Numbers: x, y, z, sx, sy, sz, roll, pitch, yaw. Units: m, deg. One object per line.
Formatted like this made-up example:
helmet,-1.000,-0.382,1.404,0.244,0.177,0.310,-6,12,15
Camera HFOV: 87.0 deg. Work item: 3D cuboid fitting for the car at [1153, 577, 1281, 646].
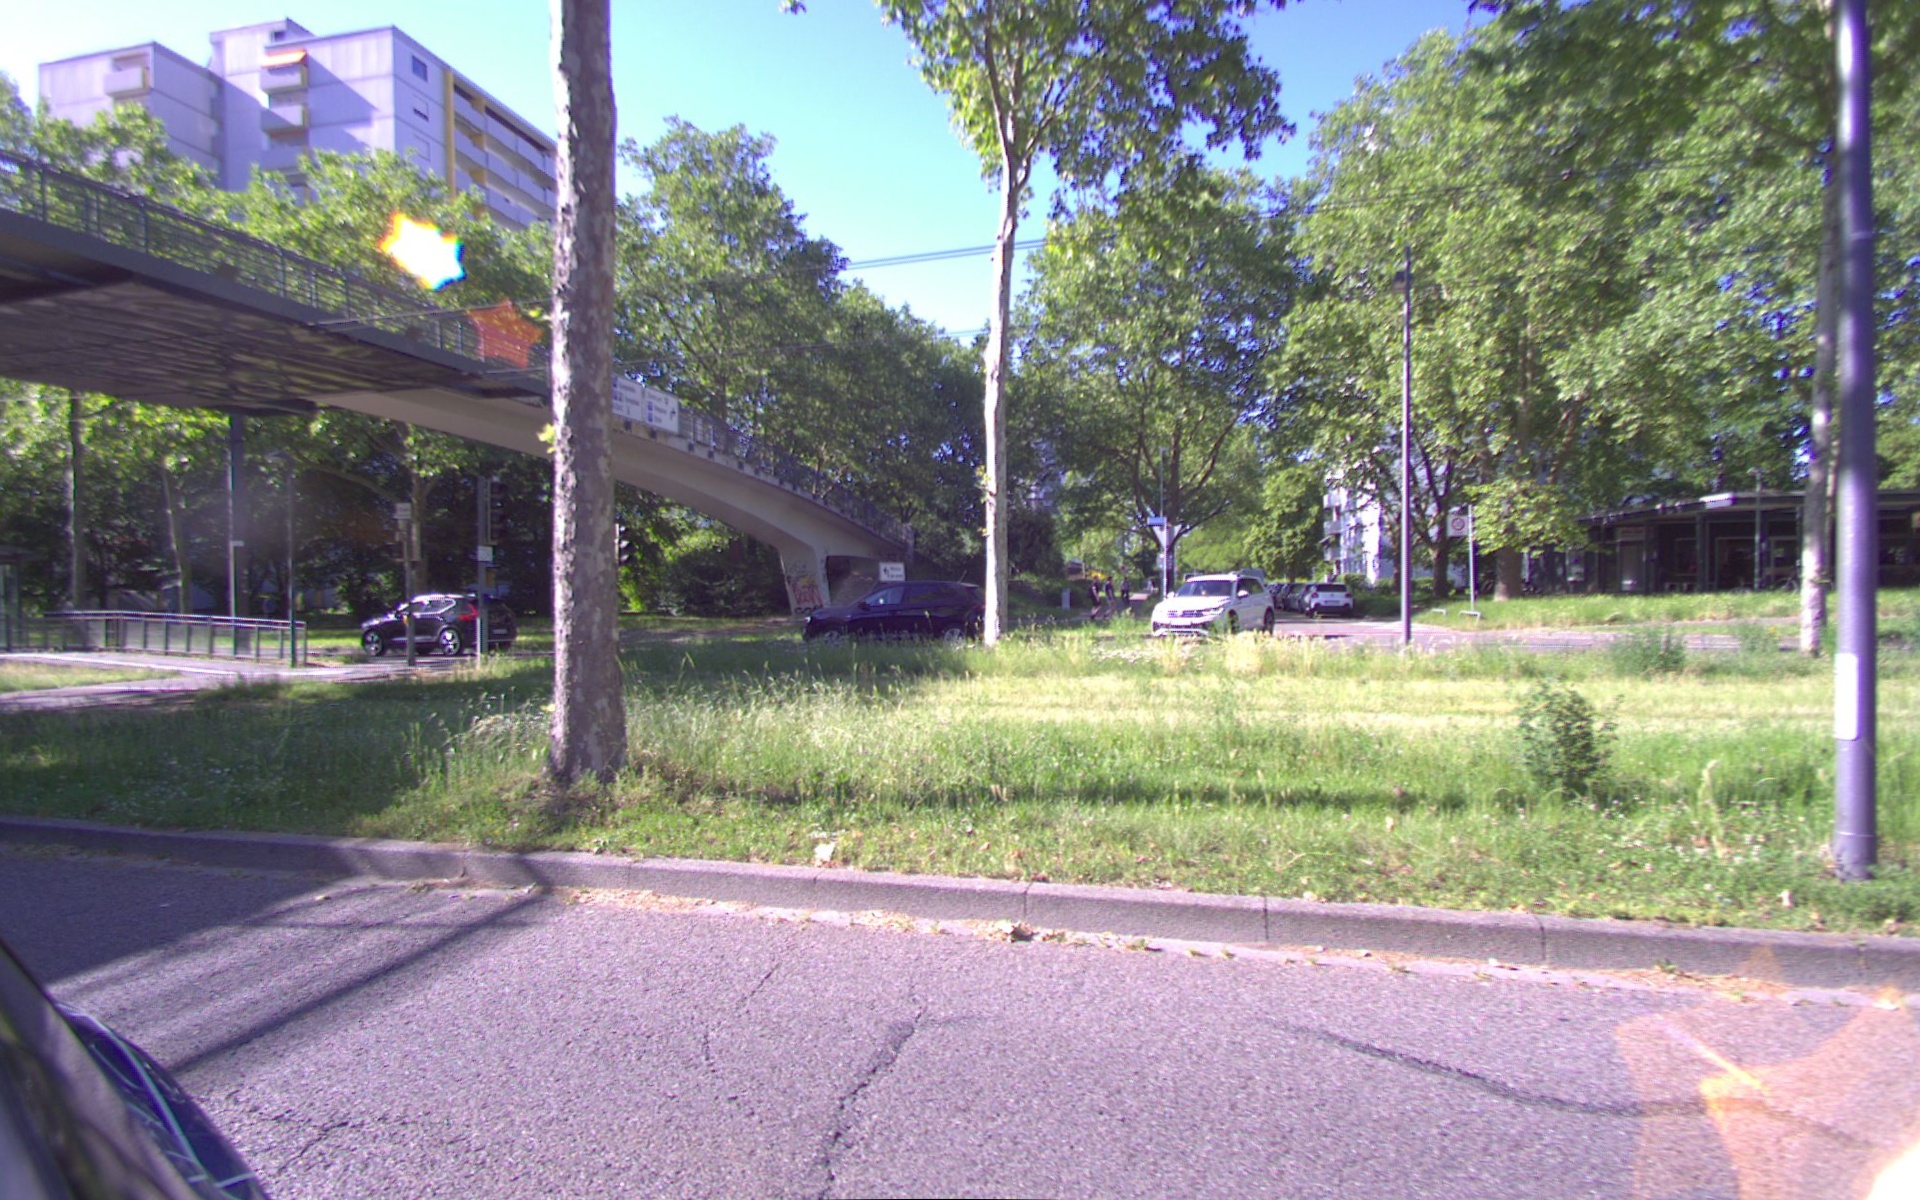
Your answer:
car,6.331,0.230,24.636,1.795,1.521,4.041,-1,0,34

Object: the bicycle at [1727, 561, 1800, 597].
bicycle,26.017,-0.676,32.794,1.780,1.116,0.554,-1,0,10

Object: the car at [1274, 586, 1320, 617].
car,17.570,0.045,52.923,1.781,1.521,3.985,-1,0,12

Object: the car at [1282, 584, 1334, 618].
car,16.577,0.039,48.347,1.781,1.521,3.985,-1,0,12

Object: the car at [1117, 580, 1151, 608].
car,9.995,-0.376,58.107,1.781,1.521,3.985,-1,0,12

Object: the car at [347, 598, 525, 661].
car,-14.191,0.790,27.434,4.251,1.578,1.790,-1,0,17

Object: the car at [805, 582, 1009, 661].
car,-1.109,0.451,22.302,4.236,1.578,1.796,-1,0,7

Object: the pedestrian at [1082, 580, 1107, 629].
pedestrian,5.046,0.171,37.969,0.650,1.796,0.641,-1,0,43

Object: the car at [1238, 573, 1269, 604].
car,24.297,-0.941,83.958,2.041,2.454,4.990,-1,0,12

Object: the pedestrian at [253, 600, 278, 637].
pedestrian,-32.176,0.867,46.902,0.645,1.674,0.646,-1,1,19

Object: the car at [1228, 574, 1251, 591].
car,27.115,-1.695,98.133,1.846,1.521,3.985,-1,0,12

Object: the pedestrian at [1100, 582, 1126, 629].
pedestrian,5.635,0.191,37.199,0.650,1.718,0.641,-1,0,44

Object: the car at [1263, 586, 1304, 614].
car,18.541,-0.024,58.099,1.781,1.521,3.985,-1,0,12

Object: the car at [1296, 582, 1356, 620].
car,15.399,0.019,42.708,1.781,1.521,3.985,-1,0,12

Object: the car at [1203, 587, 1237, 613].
car,15.778,-0.017,61.516,1.781,1.521,3.985,-1,0,12
